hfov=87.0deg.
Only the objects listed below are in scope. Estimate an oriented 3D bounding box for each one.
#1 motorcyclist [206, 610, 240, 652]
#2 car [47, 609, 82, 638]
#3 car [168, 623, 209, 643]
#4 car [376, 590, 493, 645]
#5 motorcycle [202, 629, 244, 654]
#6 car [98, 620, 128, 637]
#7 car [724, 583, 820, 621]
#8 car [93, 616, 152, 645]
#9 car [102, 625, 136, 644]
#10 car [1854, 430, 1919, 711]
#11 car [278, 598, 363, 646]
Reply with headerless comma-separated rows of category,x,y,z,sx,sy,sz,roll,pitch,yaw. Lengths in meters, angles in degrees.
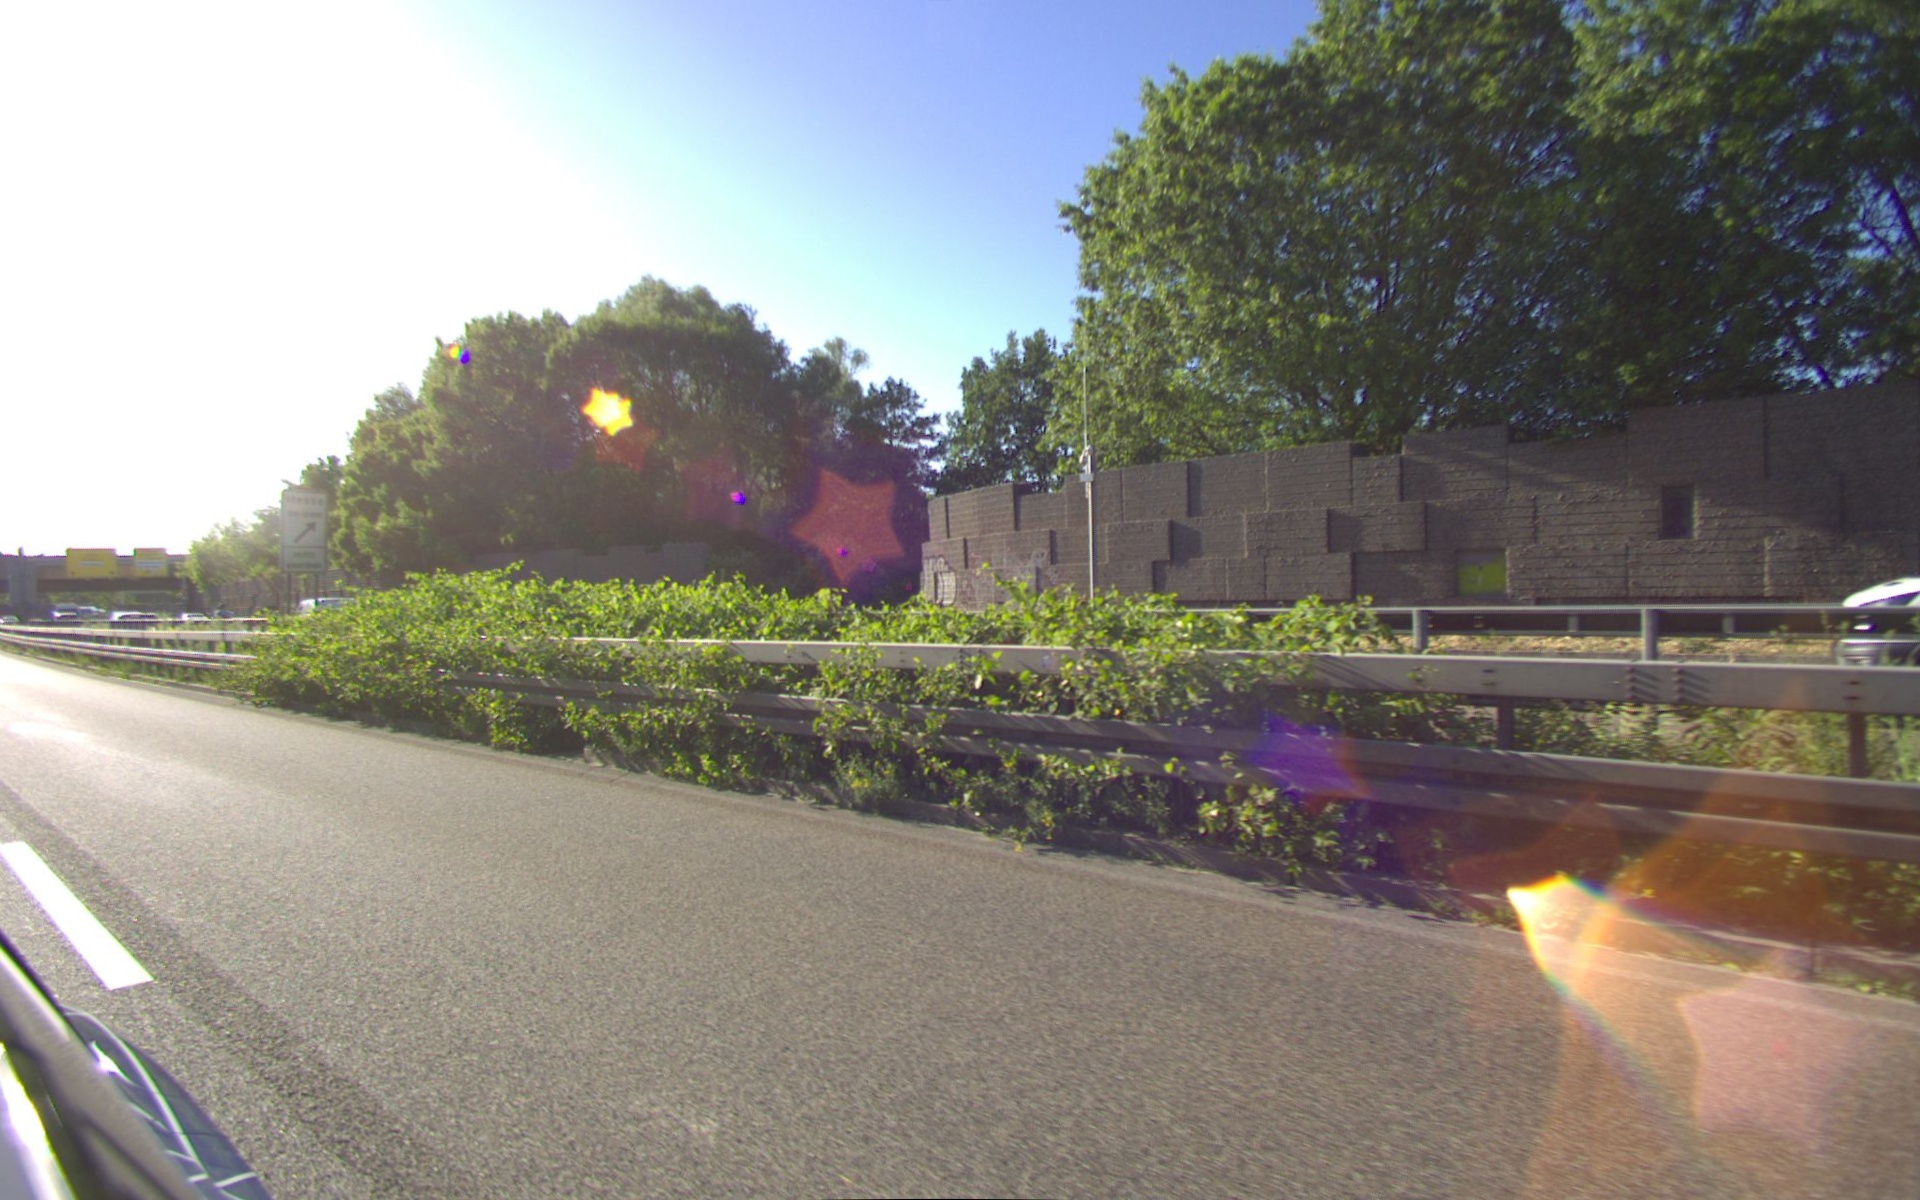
motorcyclist,-29.858,1.245,40.988,1.046,1.637,0.813,-2,2,41
car,-90.278,2.384,102.032,2.097,2.703,6.591,-5,2,-45
car,-61.856,2.661,81.121,4.029,1.398,1.972,-2,2,44
car,-25.251,0.828,48.599,5.345,2.297,2.066,-3,1,26
motorcycle,-29.916,1.691,41.067,2.473,0.899,0.803,-2,2,42
car,-90.660,3.050,108.324,4.623,1.607,1.971,-2,2,45
car,-8.301,0.066,44.647,4.030,1.343,2.008,-4,1,-11
car,-47.768,1.756,57.706,4.619,1.491,1.803,-2,2,41
car,-78.660,3.250,94.620,4.697,1.632,1.881,-2,2,44
car,11.634,-0.421,8.516,6.049,2.630,2.125,-2,2,41
car,-27.292,0.957,43.113,4.620,1.835,1.803,-2,2,42
